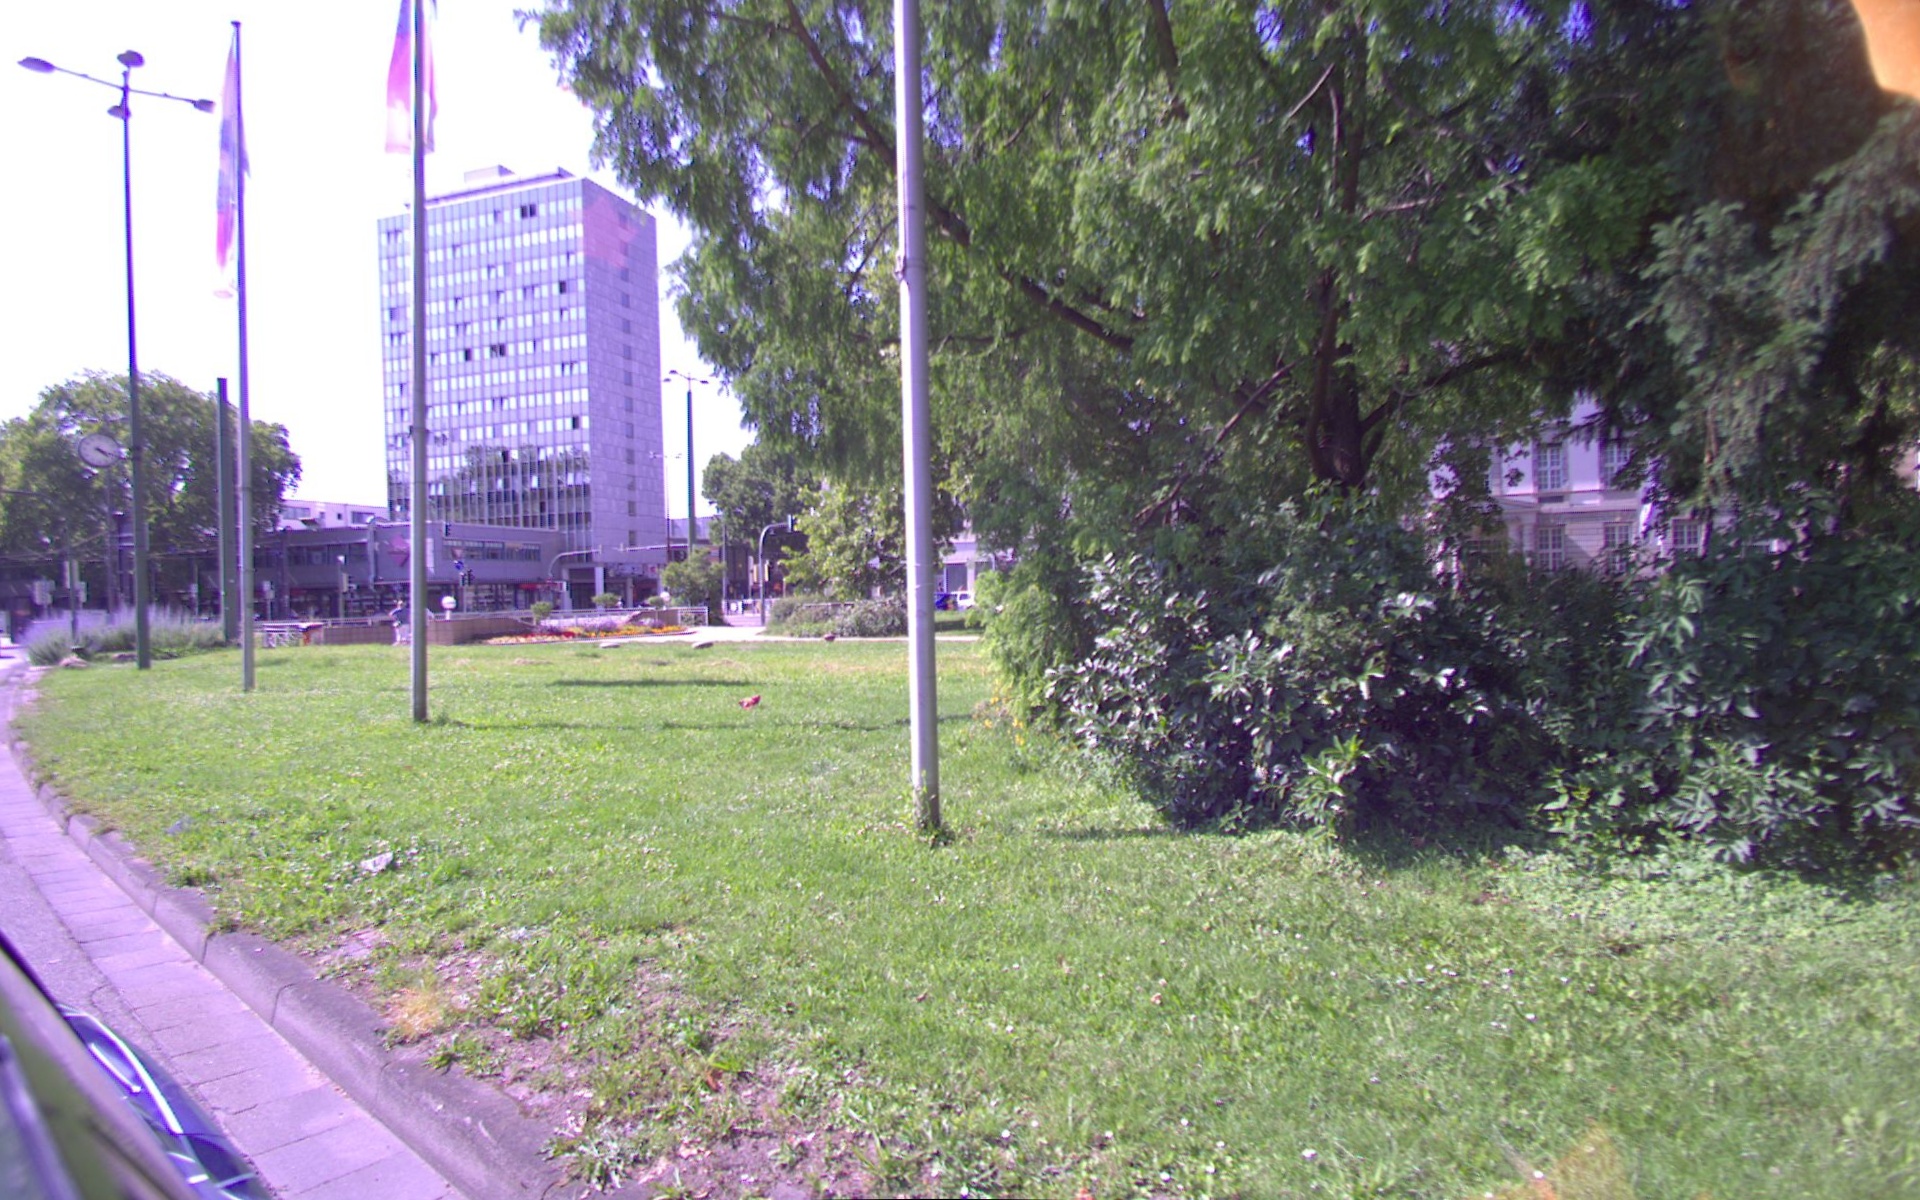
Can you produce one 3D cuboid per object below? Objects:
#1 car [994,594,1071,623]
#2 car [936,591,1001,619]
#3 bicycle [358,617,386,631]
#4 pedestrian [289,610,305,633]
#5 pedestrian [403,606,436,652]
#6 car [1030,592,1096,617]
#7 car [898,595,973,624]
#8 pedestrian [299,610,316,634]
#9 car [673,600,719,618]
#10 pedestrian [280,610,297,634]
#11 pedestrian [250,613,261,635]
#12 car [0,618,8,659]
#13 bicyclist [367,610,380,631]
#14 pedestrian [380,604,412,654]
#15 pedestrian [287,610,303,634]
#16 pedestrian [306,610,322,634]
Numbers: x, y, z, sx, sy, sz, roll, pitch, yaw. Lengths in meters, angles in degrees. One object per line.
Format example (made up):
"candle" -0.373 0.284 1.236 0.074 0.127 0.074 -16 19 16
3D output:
"car" 3.619 0.407 50.399 3.556 1.278 1.602 -2 0 19
"car" 0.496 0.260 58.245 3.382 1.475 1.509 -2 0 19
"bicycle" -48.442 1.985 83.363 0.575 1.110 1.947 -2 0 34
"pedestrian" -53.067 1.741 80.975 0.667 1.820 0.817 -1 0 22
"pedestrian" -18.232 0.980 34.135 0.473 1.521 0.842 -2 0 31
"car" 5.710 0.233 56.097 3.382 1.248 1.509 -2 0 19
"car" -1.251 0.509 52.380 3.556 1.356 1.602 -2 0 19
"pedestrian" -51.187 1.696 79.348 0.729 1.850 0.819 -1 0 18
"car" -25.061 0.873 96.076 1.876 1.545 4.035 -2 0 31
"pedestrian" -52.252 1.709 78.770 0.665 1.850 0.819 -1 0 17
"pedestrian" -54.964 1.875 78.951 0.557 1.650 0.600 -1 0 -44
"car" -37.120 1.455 38.073 4.090 1.504 1.766 -2 -1 45
"bicyclist" -48.366 1.678 83.493 0.582 1.700 0.676 -2 0 34
"pedestrian" -18.676 0.950 33.523 0.598 1.605 0.685 -2 0 31
"pedestrian" -51.066 1.692 77.721 0.665 1.850 0.819 -1 0 17
"pedestrian" -50.484 1.690 79.111 0.666 1.850 0.819 -1 0 18
